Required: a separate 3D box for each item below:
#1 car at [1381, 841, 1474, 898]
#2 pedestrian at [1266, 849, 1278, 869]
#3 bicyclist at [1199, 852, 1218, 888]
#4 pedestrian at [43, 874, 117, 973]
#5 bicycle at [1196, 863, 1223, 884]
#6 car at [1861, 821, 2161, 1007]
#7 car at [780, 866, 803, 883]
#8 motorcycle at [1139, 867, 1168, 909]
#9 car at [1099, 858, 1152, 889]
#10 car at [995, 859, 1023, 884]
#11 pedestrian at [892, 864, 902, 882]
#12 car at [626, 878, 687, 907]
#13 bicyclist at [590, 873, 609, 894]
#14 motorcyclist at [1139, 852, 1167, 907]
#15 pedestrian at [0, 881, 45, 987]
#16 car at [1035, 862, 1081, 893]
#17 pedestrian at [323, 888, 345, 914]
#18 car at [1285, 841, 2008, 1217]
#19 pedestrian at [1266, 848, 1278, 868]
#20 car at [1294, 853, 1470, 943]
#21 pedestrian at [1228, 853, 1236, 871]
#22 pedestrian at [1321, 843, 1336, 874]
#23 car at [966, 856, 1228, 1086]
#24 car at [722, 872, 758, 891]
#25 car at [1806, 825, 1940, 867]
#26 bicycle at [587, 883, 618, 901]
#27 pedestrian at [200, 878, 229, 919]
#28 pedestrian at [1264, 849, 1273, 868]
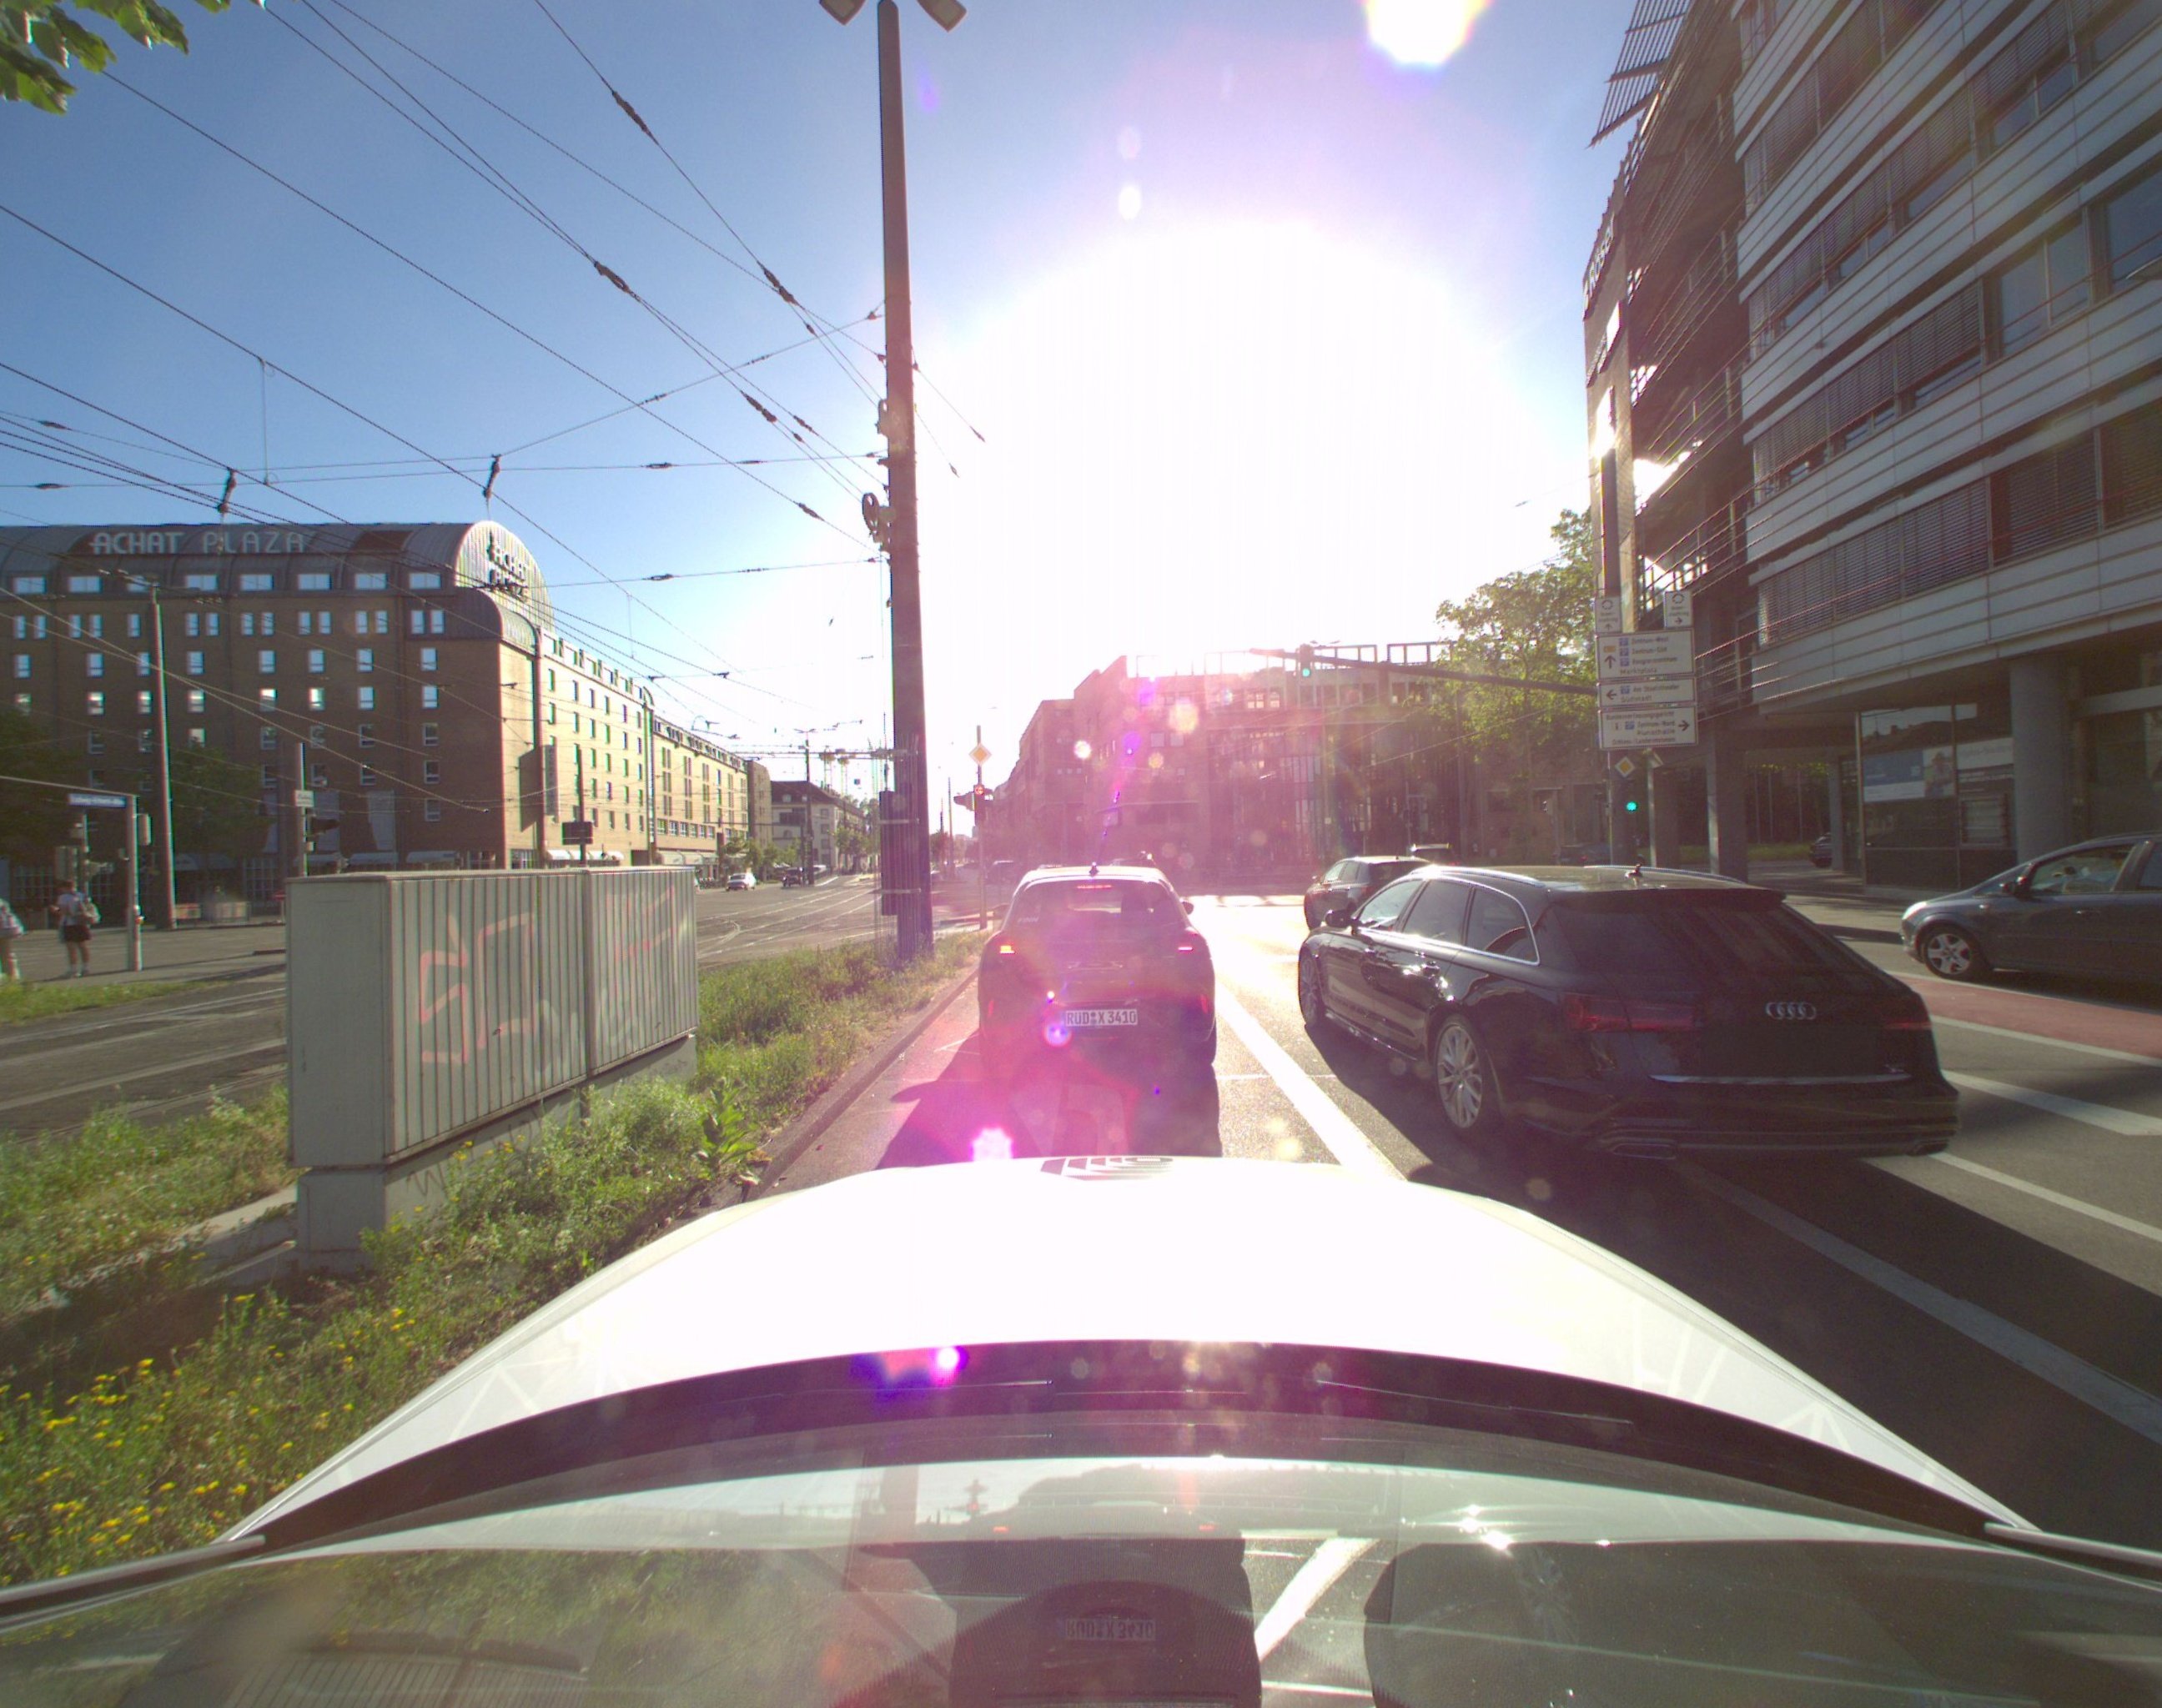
[{"bbox_3d":[11.885,0.491,28.239,1.981,1.750,4.340,-2,0,9],"label":"car"},{"bbox_3d":[15.781,0.442,67.393,0.894,1.617,0.562,-2,0,10],"label":"pedestrian"},{"bbox_3d":[6.396,0.805,40.842,0.577,1.791,0.860,-2,0,-12],"label":"bicyclist"},{"bbox_3d":[-19.275,1.317,15.697,0.562,1.817,0.662,-2,0,-5],"label":"pedestrian"},{"bbox_3d":[6.421,0.948,40.864,0.492,0.997,2.318,-2,0,-12],"label":"bicycle"},{"bbox_3d":[10.303,0.499,7.662,1.682,1.629,4.463,-2,0,1],"label":"car"},{"bbox_3d":[-28.196,1.995,79.400,1.748,1.505,3.860,-2,0,-15],"label":"car"},{"bbox_3d":[2.093,0.967,23.549,0.771,1.115,1.972,-2,0,5],"label":"motorcycle"},{"bbox_3d":[2.167,0.947,40.740,1.807,1.457,3.988,-1,0,-9],"label":"car"},{"bbox_3d":[-5.208,1.224,58.637,1.737,1.651,3.987,-2,0,-9],"label":"car"},{"bbox_3d":[-17.283,1.792,76.618,0.764,1.640,0.742,-2,0,-7],"label":"pedestrian"},{"bbox_3d":[-26.522,2.364,51.051,1.993,1.596,4.723,-2,0,-9],"label":"car"},{"bbox_3d":[-33.244,2.012,56.241,0.756,1.375,0.949,-2,0,-6],"label":"bicyclist"},{"bbox_3d":[2.055,0.711,23.278,0.741,1.530,1.022,-2,0,5],"label":"motorcyclist"},{"bbox_3d":[-19.276,1.424,14.551,0.630,1.830,0.662,-2,0,-5],"label":"pedestrian"},{"bbox_3d":[-1.165,1.096,39.235,1.736,1.349,3.988,-2,0,-8],"label":"car"},{"bbox_3d":[-44.848,2.796,48.901,0.674,1.503,0.659,-2,0,-1],"label":"pedestrian"},{"bbox_3d":[2.817,0.720,5.500,1.805,1.492,4.495,0,-1,0],"label":"car"},{"bbox_3d":[16.017,0.335,68.221,0.894,1.617,0.562,-2,0,10],"label":"pedestrian"},{"bbox_3d":[5.498,0.731,15.454,1.802,1.457,3.998,-1,0,-1],"label":"car"},{"bbox_3d":[11.678,0.617,62.957,0.527,1.430,0.598,-2,0,1],"label":"pedestrian"},{"bbox_3d":[14.056,0.247,46.219,0.700,1.759,0.564,-2,0,27],"label":"pedestrian"},{"bbox_3d":[0.207,0.763,7.243,1.642,1.433,4.003,-2,0,3],"label":"car"},{"bbox_3d":[-29.557,2.377,70.738,1.569,1.449,3.996,-2,0,-3],"label":"car"},{"bbox_3d":[32.663,-0.338,33.646,3.981,1.651,1.861,-1,0,-6],"label":"car"},{"bbox_3d":[-33.245,2.630,56.659,0.649,1.085,2.920,-2,0,-6],"label":"bicycle"},{"bbox_3d":[-43.254,2.214,40.669,0.663,2.013,0.678,-2,0,3],"label":"pedestrian"},{"bbox_3d":[16.006,0.402,69.486,0.733,1.617,0.562,-2,0,10],"label":"pedestrian"}]
